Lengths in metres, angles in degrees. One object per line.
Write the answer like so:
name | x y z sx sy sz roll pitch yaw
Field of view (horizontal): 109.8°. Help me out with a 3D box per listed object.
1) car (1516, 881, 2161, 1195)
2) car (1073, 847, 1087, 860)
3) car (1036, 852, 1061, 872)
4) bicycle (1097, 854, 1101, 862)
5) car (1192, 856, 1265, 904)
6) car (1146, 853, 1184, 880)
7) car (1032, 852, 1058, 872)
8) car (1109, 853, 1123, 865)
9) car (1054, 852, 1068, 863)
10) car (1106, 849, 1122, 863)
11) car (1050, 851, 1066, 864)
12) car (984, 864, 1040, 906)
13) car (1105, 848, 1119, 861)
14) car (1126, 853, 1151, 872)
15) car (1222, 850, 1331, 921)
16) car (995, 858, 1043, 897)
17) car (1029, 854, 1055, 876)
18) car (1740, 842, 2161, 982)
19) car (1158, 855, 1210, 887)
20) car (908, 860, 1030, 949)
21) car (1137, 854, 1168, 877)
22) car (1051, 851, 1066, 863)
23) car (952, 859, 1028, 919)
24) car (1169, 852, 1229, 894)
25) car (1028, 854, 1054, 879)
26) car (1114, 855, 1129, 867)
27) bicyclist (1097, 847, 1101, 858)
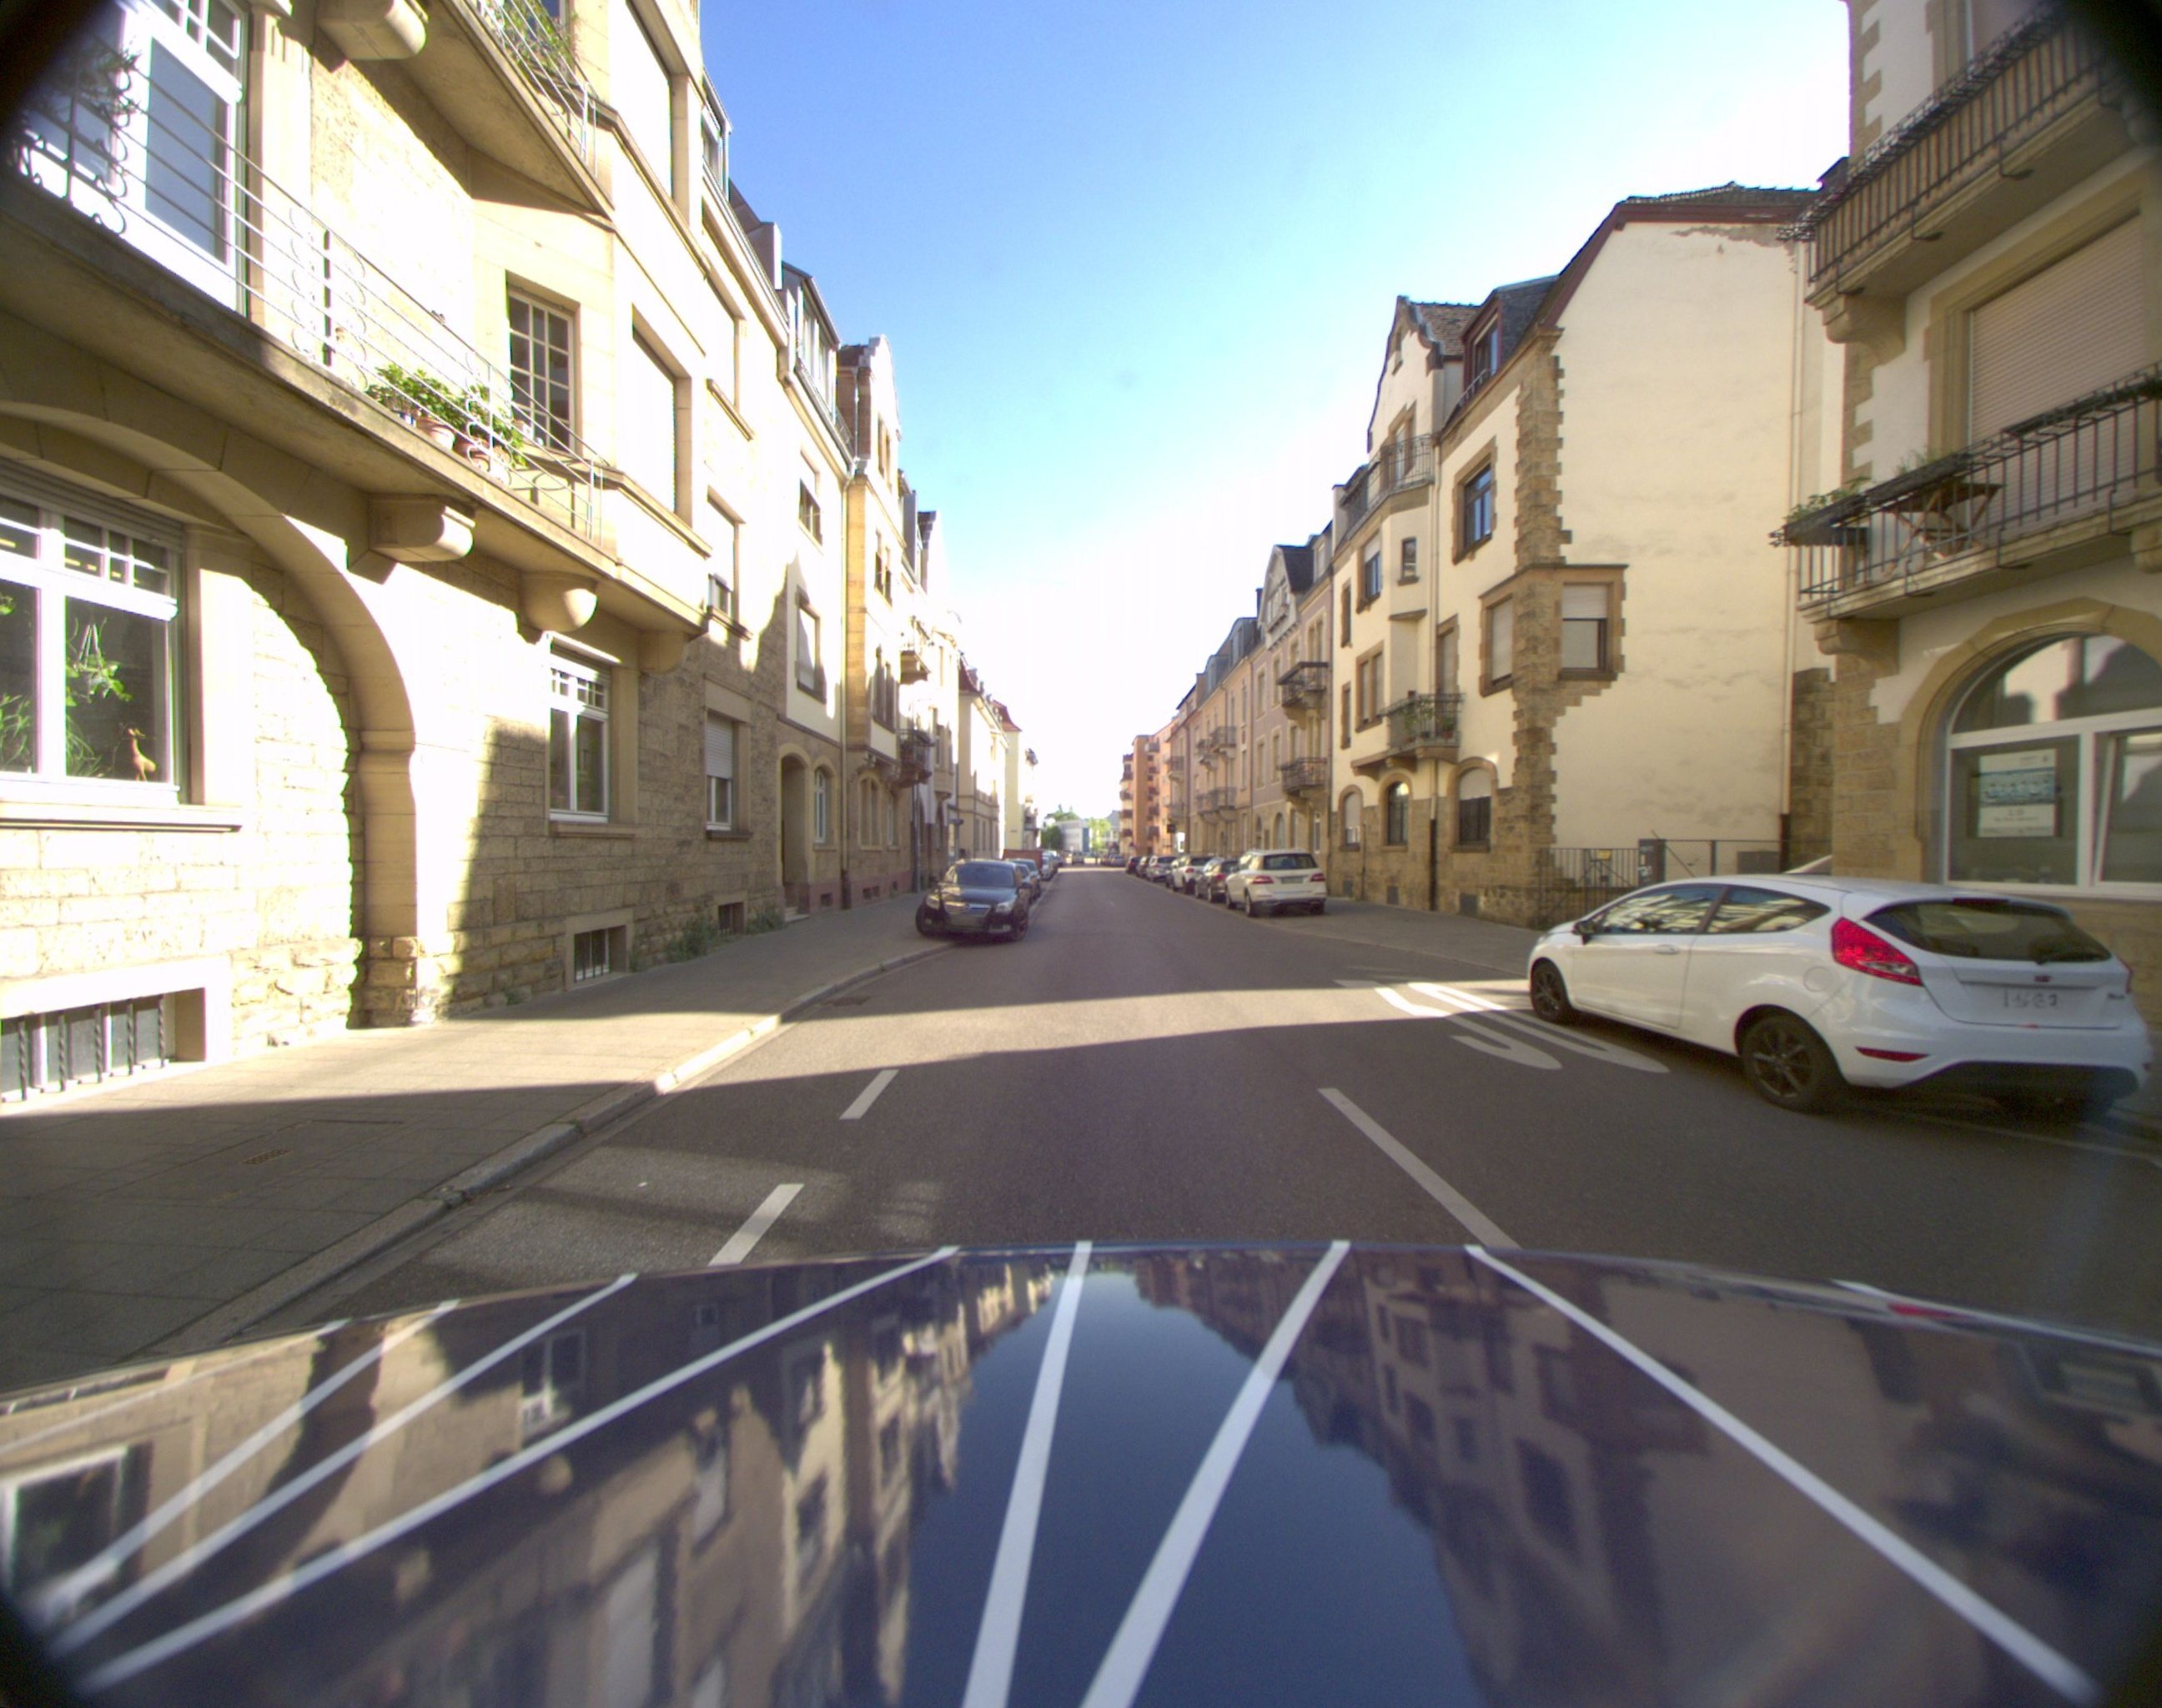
car | 5.145 1.014 5.784 1.637 1.455 3.735 0 1 2
car | -0.170 -0.045 111.253 1.868 1.926 4.598 0 0 -3
car | -2.646 0.634 63.530 1.791 1.655 4.434 0 0 1
bicycle | 2.582 0.538 108.300 0.541 1.070 1.800 0 0 1
car | 5.081 0.854 26.705 1.578 1.479 4.279 -2 0 -2
car | 4.999 0.696 45.710 1.719 1.529 3.722 -1 0 -2
car | -2.764 0.599 59.096 1.684 1.537 3.914 1 0 1
car | 4.423 0.596 96.267 1.678 1.414 3.285 1 0 0
car | -2.655 0.402 99.712 1.708 1.417 3.721 0 0 -2
car | 4.408 0.261 102.011 1.822 1.867 4.110 0 0 0
car | -2.617 0.378 87.899 1.708 1.417 3.721 1 1 -1
car | -2.306 1.014 26.222 1.697 1.247 3.940 -1 0 -3
car | 4.372 0.066 107.383 1.822 1.867 4.111 0 0 0
car | 4.722 0.671 62.689 1.719 1.378 3.864 -3 0 0
car | 5.212 0.754 20.924 1.896 1.712 4.726 -1 0 1
car | -2.460 0.885 30.600 1.791 1.421 3.806 0 0 -4
car | -2.671 0.734 53.027 1.657 1.456 4.093 0 0 -1
car | 11.834 0.718 10.393 3.978 1.718 1.909 0 0 0
car | 5.037 0.800 37.580 1.677 1.385 3.664 -3 0 -5
car | -2.069 0.894 15.276 1.870 1.454 4.338 0 0 -1
car | 4.892 0.750 52.403 1.719 1.512 4.109 1 0 -1
car | -2.760 0.332 93.362 1.708 1.417 3.721 1 1 -1
car | -2.381 0.882 20.878 1.655 1.434 4.257 1 0 -1
car | 4.919 0.749 32.196 1.719 1.574 4.019 -3 0 -2
car | -2.473 0.743 47.641 1.590 1.456 3.711 0 0 -2
car | 4.837 0.865 91.153 1.678 1.414 3.500 0 0 0
bicyclist | 2.575 -0.199 108.318 0.609 1.656 0.632 0 1 0
